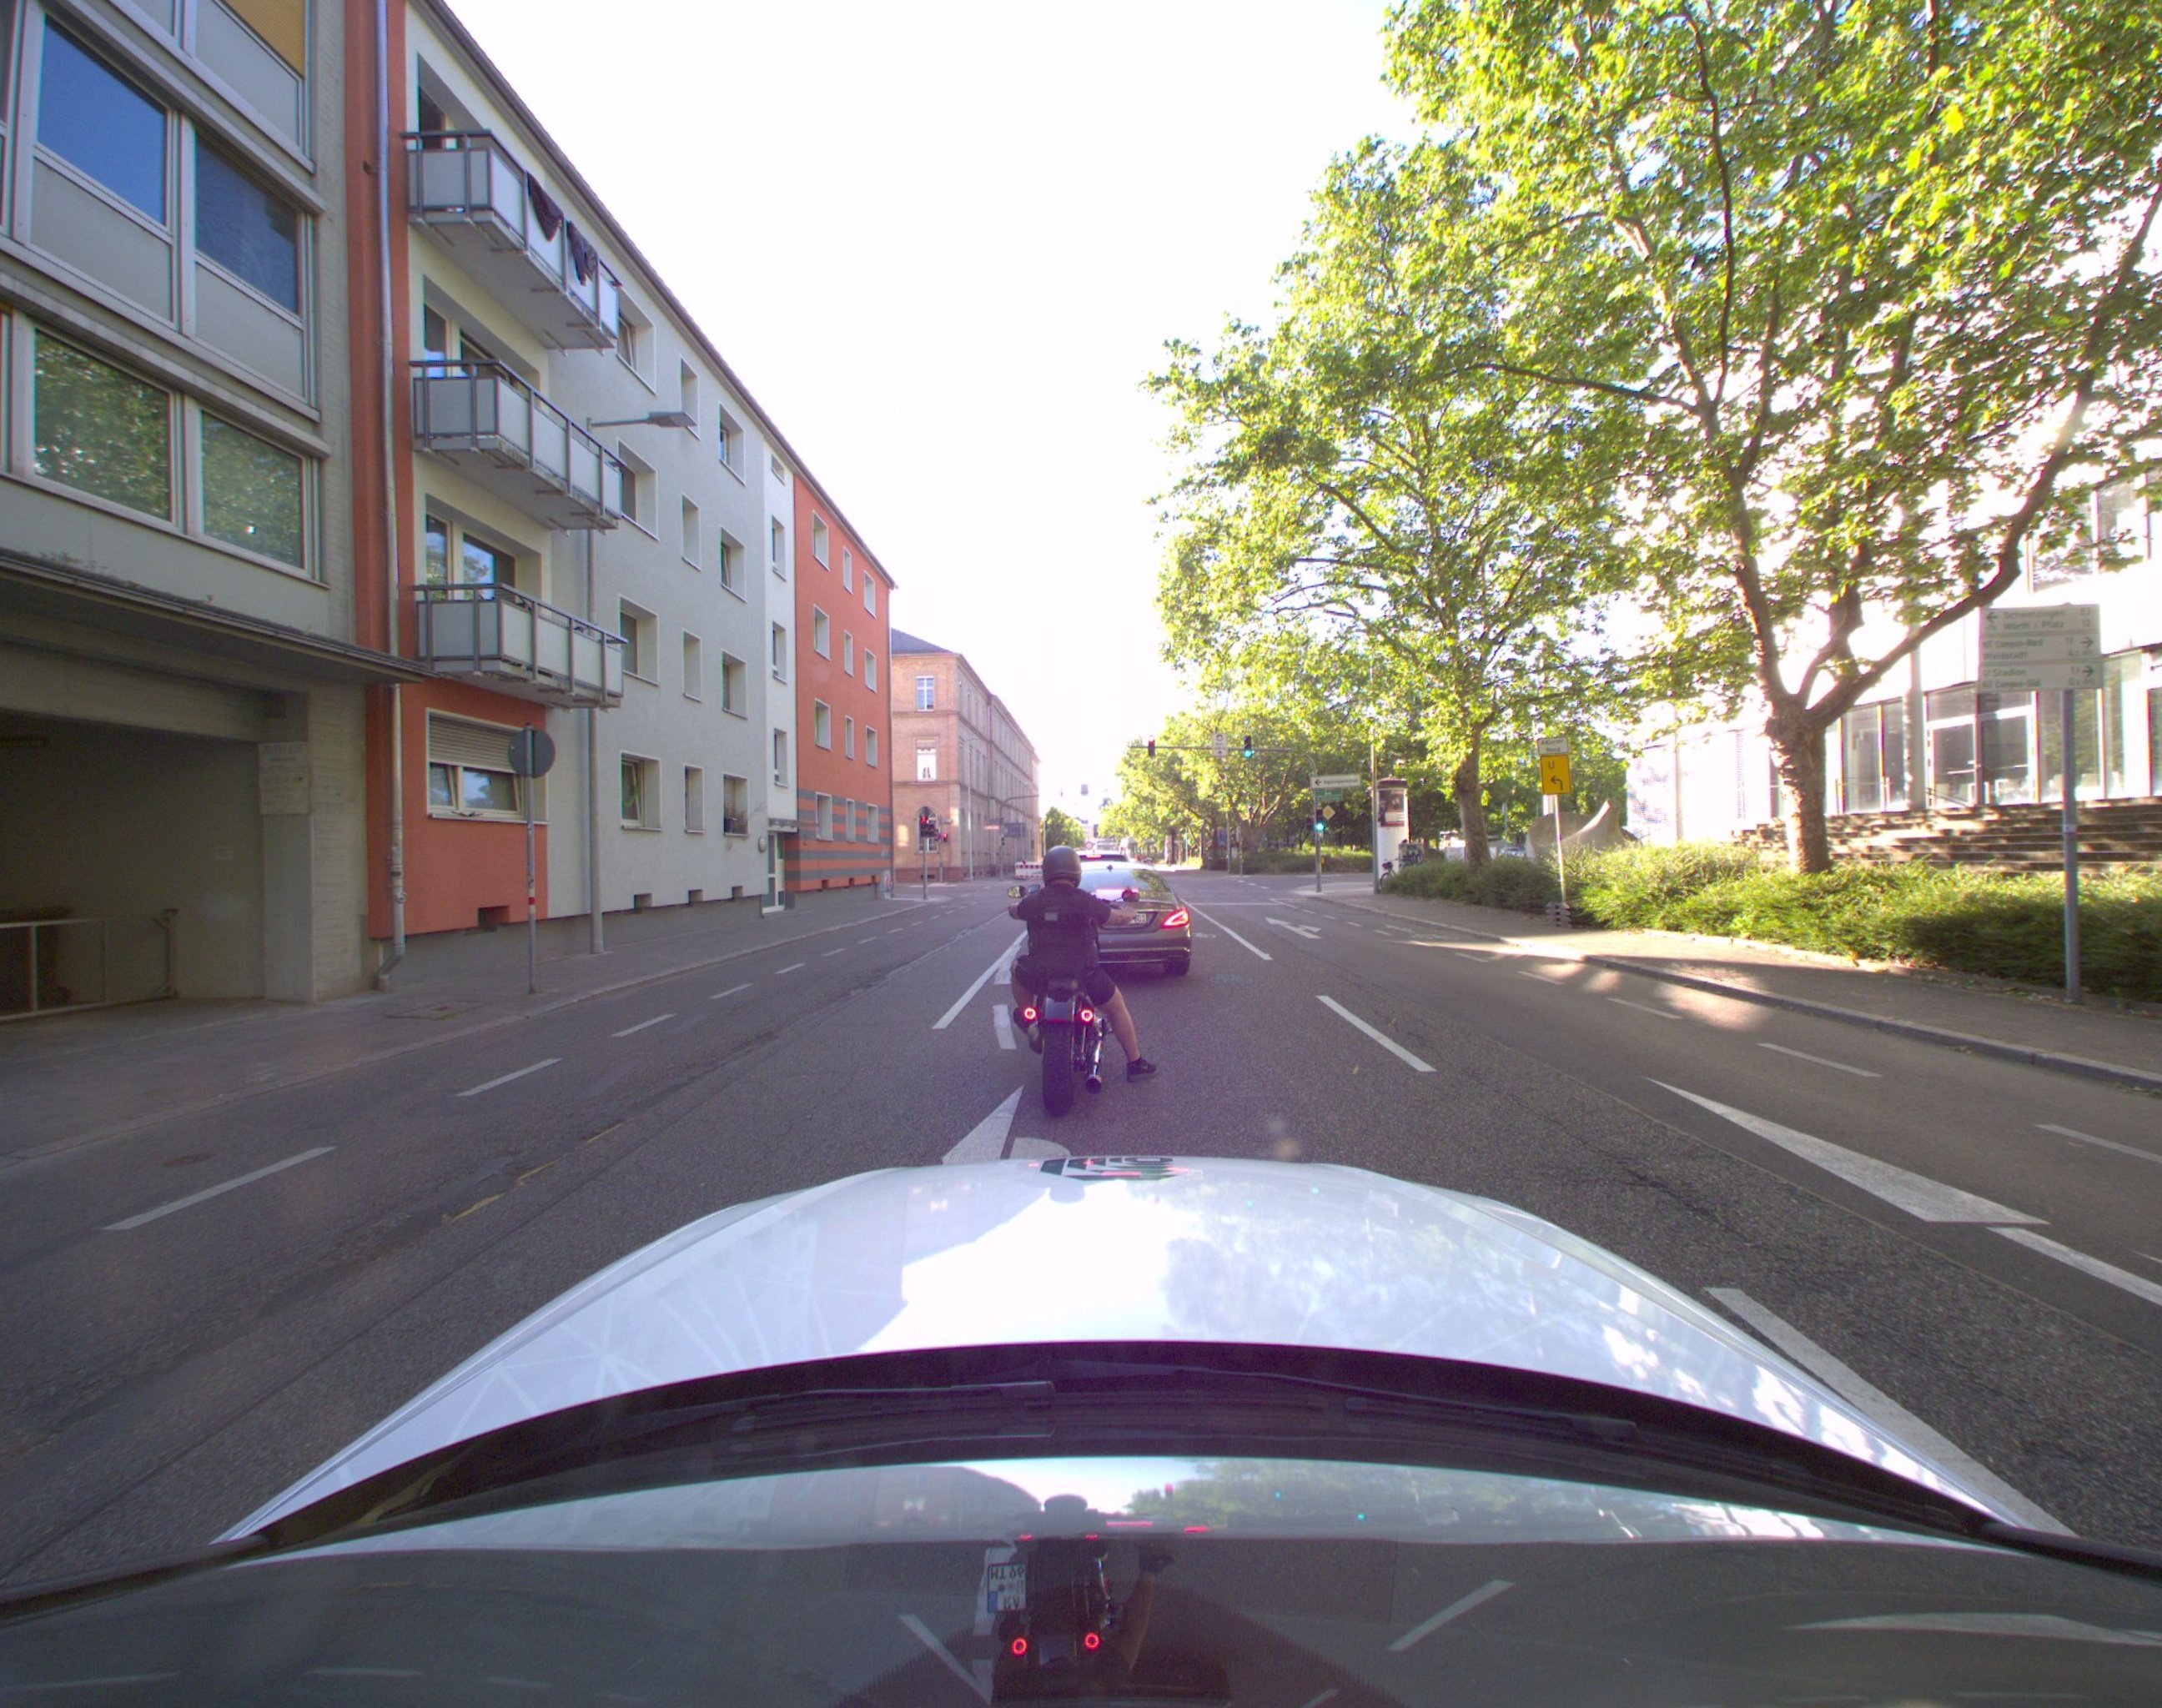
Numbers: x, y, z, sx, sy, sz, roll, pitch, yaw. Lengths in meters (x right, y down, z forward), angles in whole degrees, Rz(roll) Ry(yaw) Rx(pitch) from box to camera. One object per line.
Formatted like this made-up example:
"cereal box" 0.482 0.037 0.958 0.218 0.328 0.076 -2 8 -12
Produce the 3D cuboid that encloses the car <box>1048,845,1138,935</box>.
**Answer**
"car" 0.291 0.688 17.104 1.645 1.652 4.002 0 -1 2

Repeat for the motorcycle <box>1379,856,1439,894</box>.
"motorcycle" 11.077 0.707 27.553 1.771 1.243 0.724 0 -1 7

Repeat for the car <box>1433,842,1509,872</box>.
"car" 24.636 0.194 51.531 3.974 1.772 1.738 -1 0 -1

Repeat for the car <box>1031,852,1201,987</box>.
"car" 0.265 0.744 11.254 1.821 1.486 4.325 0 0 -5

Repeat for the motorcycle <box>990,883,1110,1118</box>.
"motorcycle" -0.138 0.851 5.551 0.657 1.240 2.058 0 -1 2

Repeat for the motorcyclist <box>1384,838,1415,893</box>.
"motorcyclist" 10.773 0.388 27.577 0.818 1.863 0.673 -1 -1 7
